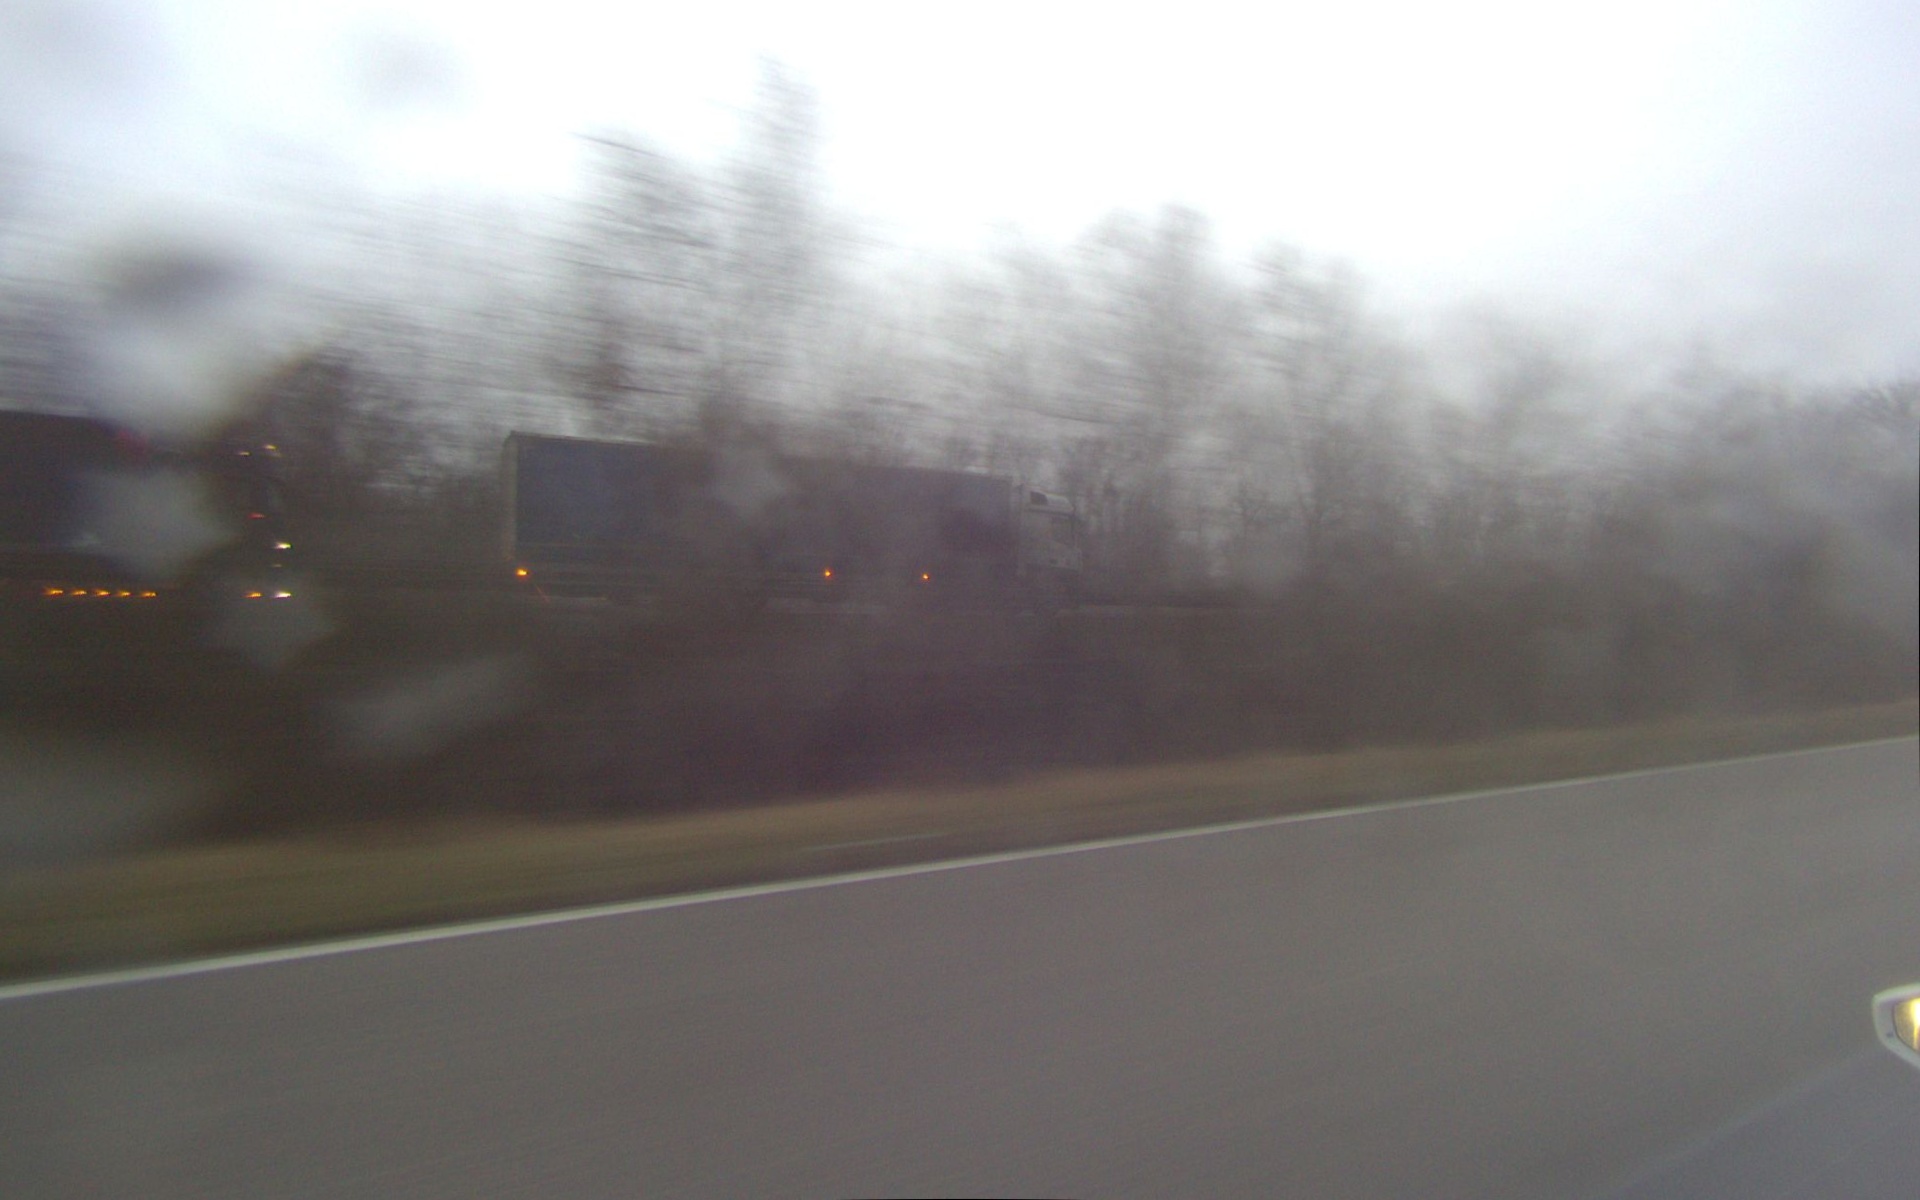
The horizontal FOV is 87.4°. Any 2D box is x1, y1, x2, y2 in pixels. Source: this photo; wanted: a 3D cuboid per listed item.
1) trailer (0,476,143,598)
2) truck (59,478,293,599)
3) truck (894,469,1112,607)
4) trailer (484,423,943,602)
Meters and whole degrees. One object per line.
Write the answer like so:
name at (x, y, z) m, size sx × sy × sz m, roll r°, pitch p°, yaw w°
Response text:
trailer at (-23.984, -1.430, 20.198) m, size 11.367 × 2.456 × 2.497 m, roll 1°, pitch -2°, yaw -30°
truck at (-18.194, -1.315, 23.639) m, size 3.953 × 2.468 × 2.518 m, roll 1°, pitch -2°, yaw -30°
truck at (1.340, -1.698, 30.627) m, size 5.997 × 3.680 × 2.977 m, roll 1°, pitch -1°, yaw -31°
trailer at (-6.049, -1.896, 26.165) m, size 11.256 × 3.682 × 2.983 m, roll 1°, pitch -1°, yaw -31°
